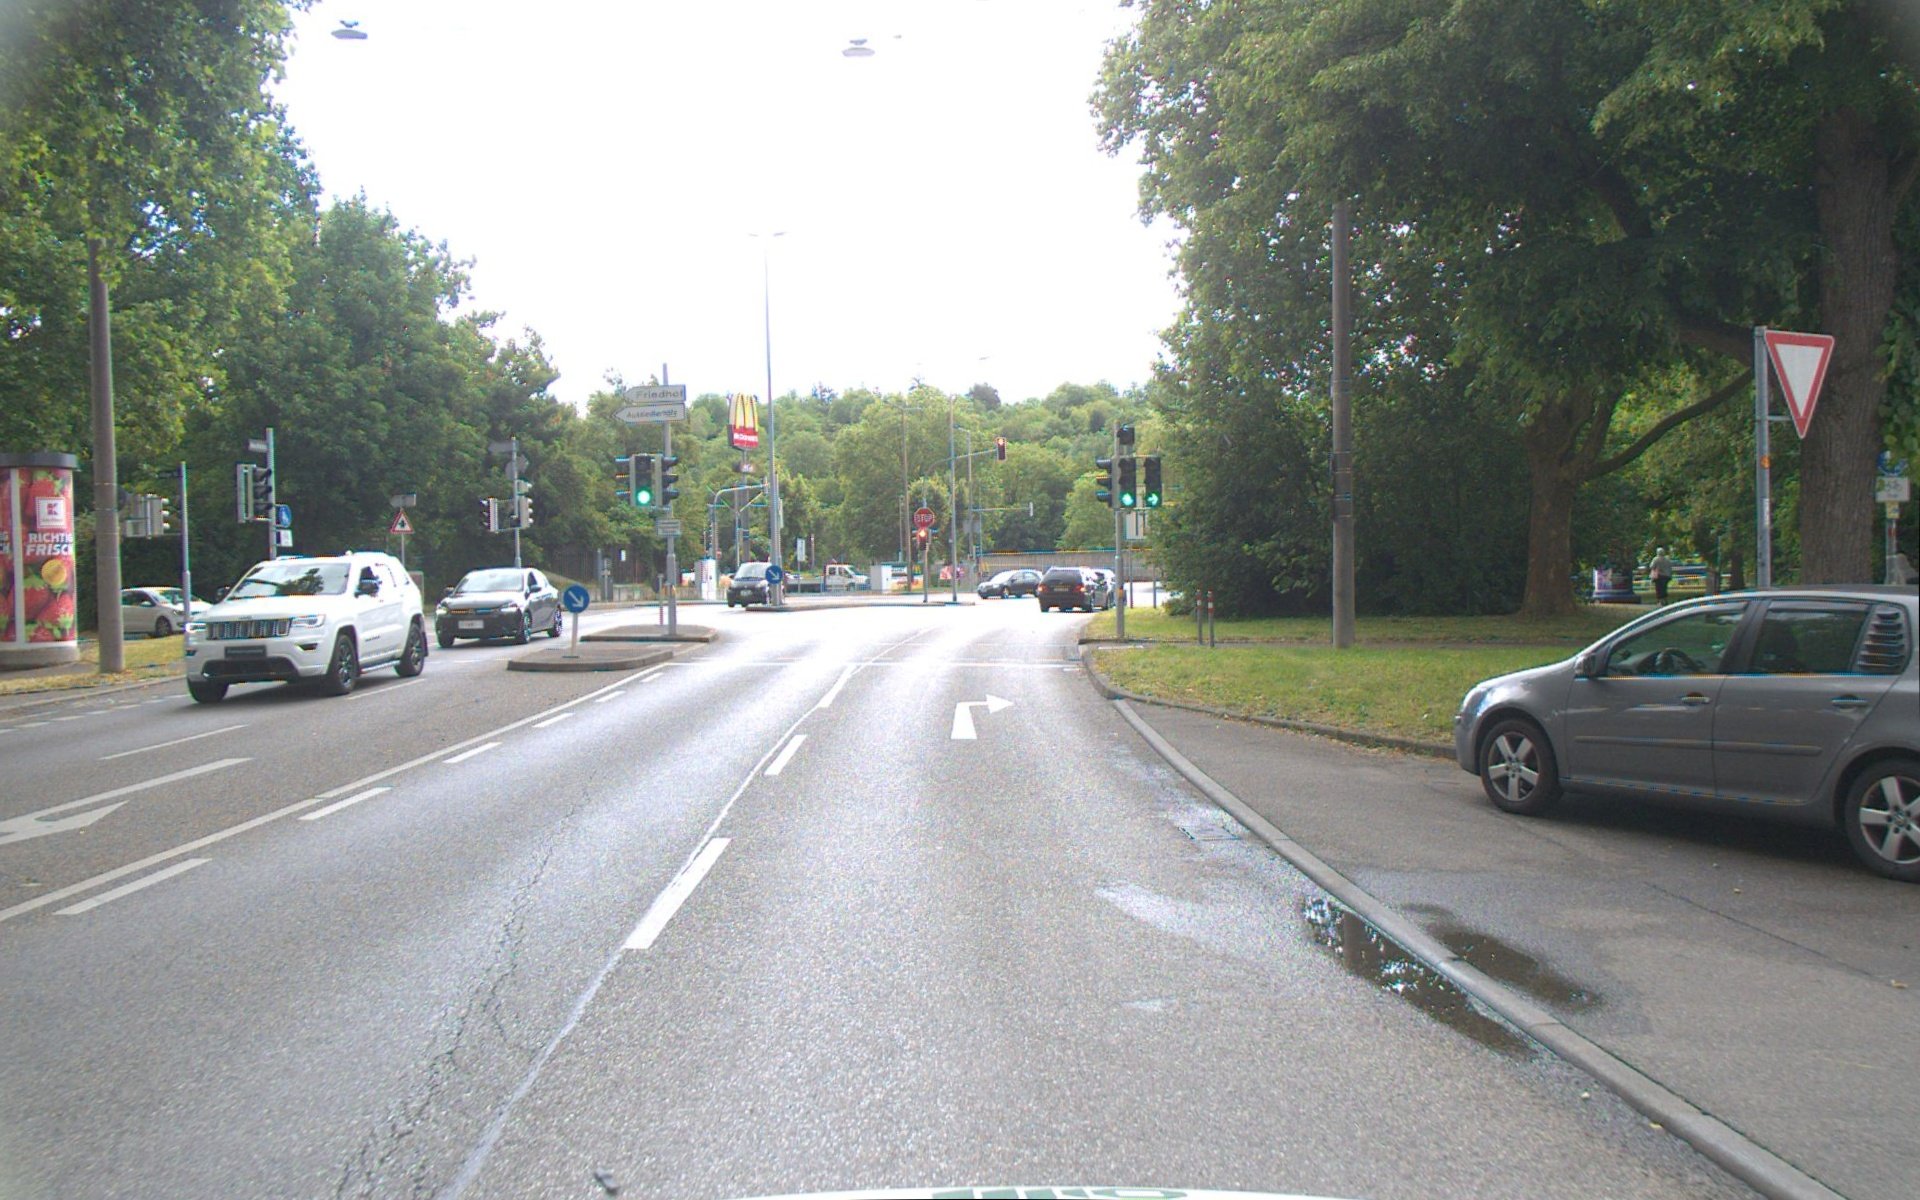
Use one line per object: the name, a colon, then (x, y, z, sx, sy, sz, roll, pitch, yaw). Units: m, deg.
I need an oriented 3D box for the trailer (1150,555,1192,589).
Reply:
trailer: (16.939, -2.222, 132.555, 2.303, 2.627, 4.921, -2, 0, 20)

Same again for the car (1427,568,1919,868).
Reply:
car: (4.884, 0.560, 9.827, 1.709, 1.454, 4.073, -2, 2, -29)

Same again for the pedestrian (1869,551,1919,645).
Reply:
pedestrian: (16.070, -0.048, 28.279, 0.669, 1.578, 0.743, -1, 1, 5)

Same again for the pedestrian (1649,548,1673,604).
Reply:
pedestrian: (19.706, -0.681, 46.497, 0.499, 1.558, 0.778, -1, 0, 14)

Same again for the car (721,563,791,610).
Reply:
car: (-7.228, -0.501, 58.844, 1.535, 1.553, 3.192, -1, 2, 10)

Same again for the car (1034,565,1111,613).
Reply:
car: (3.884, -0.385, 56.316, 1.783, 1.535, 4.578, -1, 0, 14)

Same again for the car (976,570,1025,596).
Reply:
car: (2.242, -0.939, 90.892, 1.642, 1.390, 4.314, 0, 1, 16)

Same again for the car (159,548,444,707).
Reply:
car: (-8.612, 0.254, 22.158, 1.872, 1.794, 4.753, -2, 2, -1)

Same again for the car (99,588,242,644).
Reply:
car: (-22.659, 0.457, 47.458, 3.768, 1.505, 1.824, -1, 1, 28)

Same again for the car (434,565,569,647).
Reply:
car: (-9.004, 0.069, 32.755, 1.537, 1.406, 3.950, -3, 2, -1)
